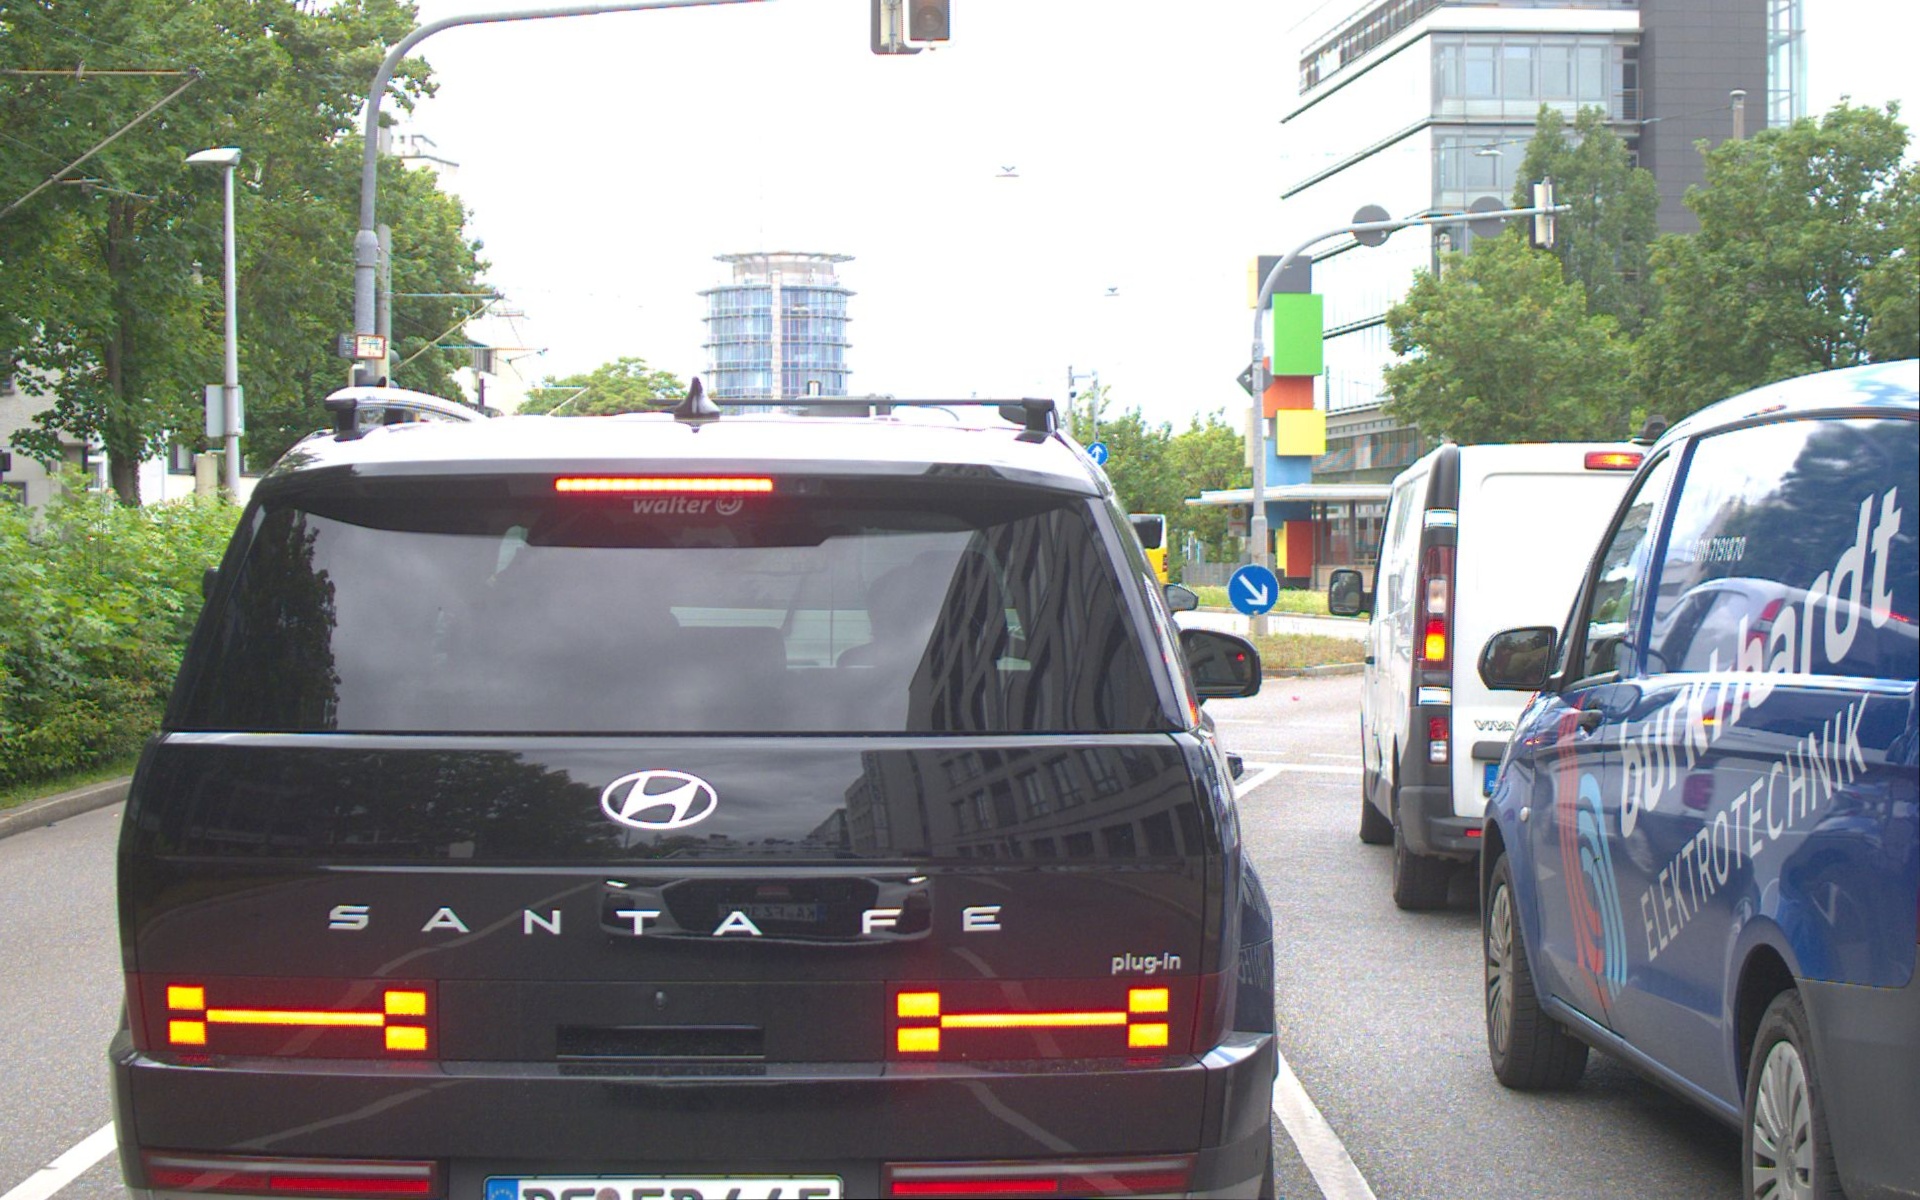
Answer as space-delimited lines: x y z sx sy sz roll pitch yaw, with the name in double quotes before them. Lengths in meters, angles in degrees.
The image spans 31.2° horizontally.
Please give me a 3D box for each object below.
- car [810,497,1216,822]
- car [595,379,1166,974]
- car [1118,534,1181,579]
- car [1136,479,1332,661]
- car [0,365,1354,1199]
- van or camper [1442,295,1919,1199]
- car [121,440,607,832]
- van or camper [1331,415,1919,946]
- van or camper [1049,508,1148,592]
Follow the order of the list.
"car" 0.433 0.297 20.473 1.776 1.711 4.337 1 0 10
"car" -0.290 0.224 13.512 1.915 1.996 3.880 0 1 -1
"car" 7.247 -1.652 131.813 1.993 1.678 4.000 0 0 -3
"car" 3.144 -0.351 40.242 1.993 2.007 4.000 0 0 1
"car" -0.417 0.526 6.627 1.869 1.754 3.880 0 1 -1
"van or camper" 2.391 0.436 7.719 1.859 1.904 5.032 0 1 -1
"car" -3.265 0.162 19.799 1.993 1.941 4.737 -1 0 -1
"van or camper" 2.819 0.263 15.447 1.994 2.007 4.652 1 1 3
"van or camper" 4.397 -1.545 108.013 1.994 2.538 6.575 1 0 12
